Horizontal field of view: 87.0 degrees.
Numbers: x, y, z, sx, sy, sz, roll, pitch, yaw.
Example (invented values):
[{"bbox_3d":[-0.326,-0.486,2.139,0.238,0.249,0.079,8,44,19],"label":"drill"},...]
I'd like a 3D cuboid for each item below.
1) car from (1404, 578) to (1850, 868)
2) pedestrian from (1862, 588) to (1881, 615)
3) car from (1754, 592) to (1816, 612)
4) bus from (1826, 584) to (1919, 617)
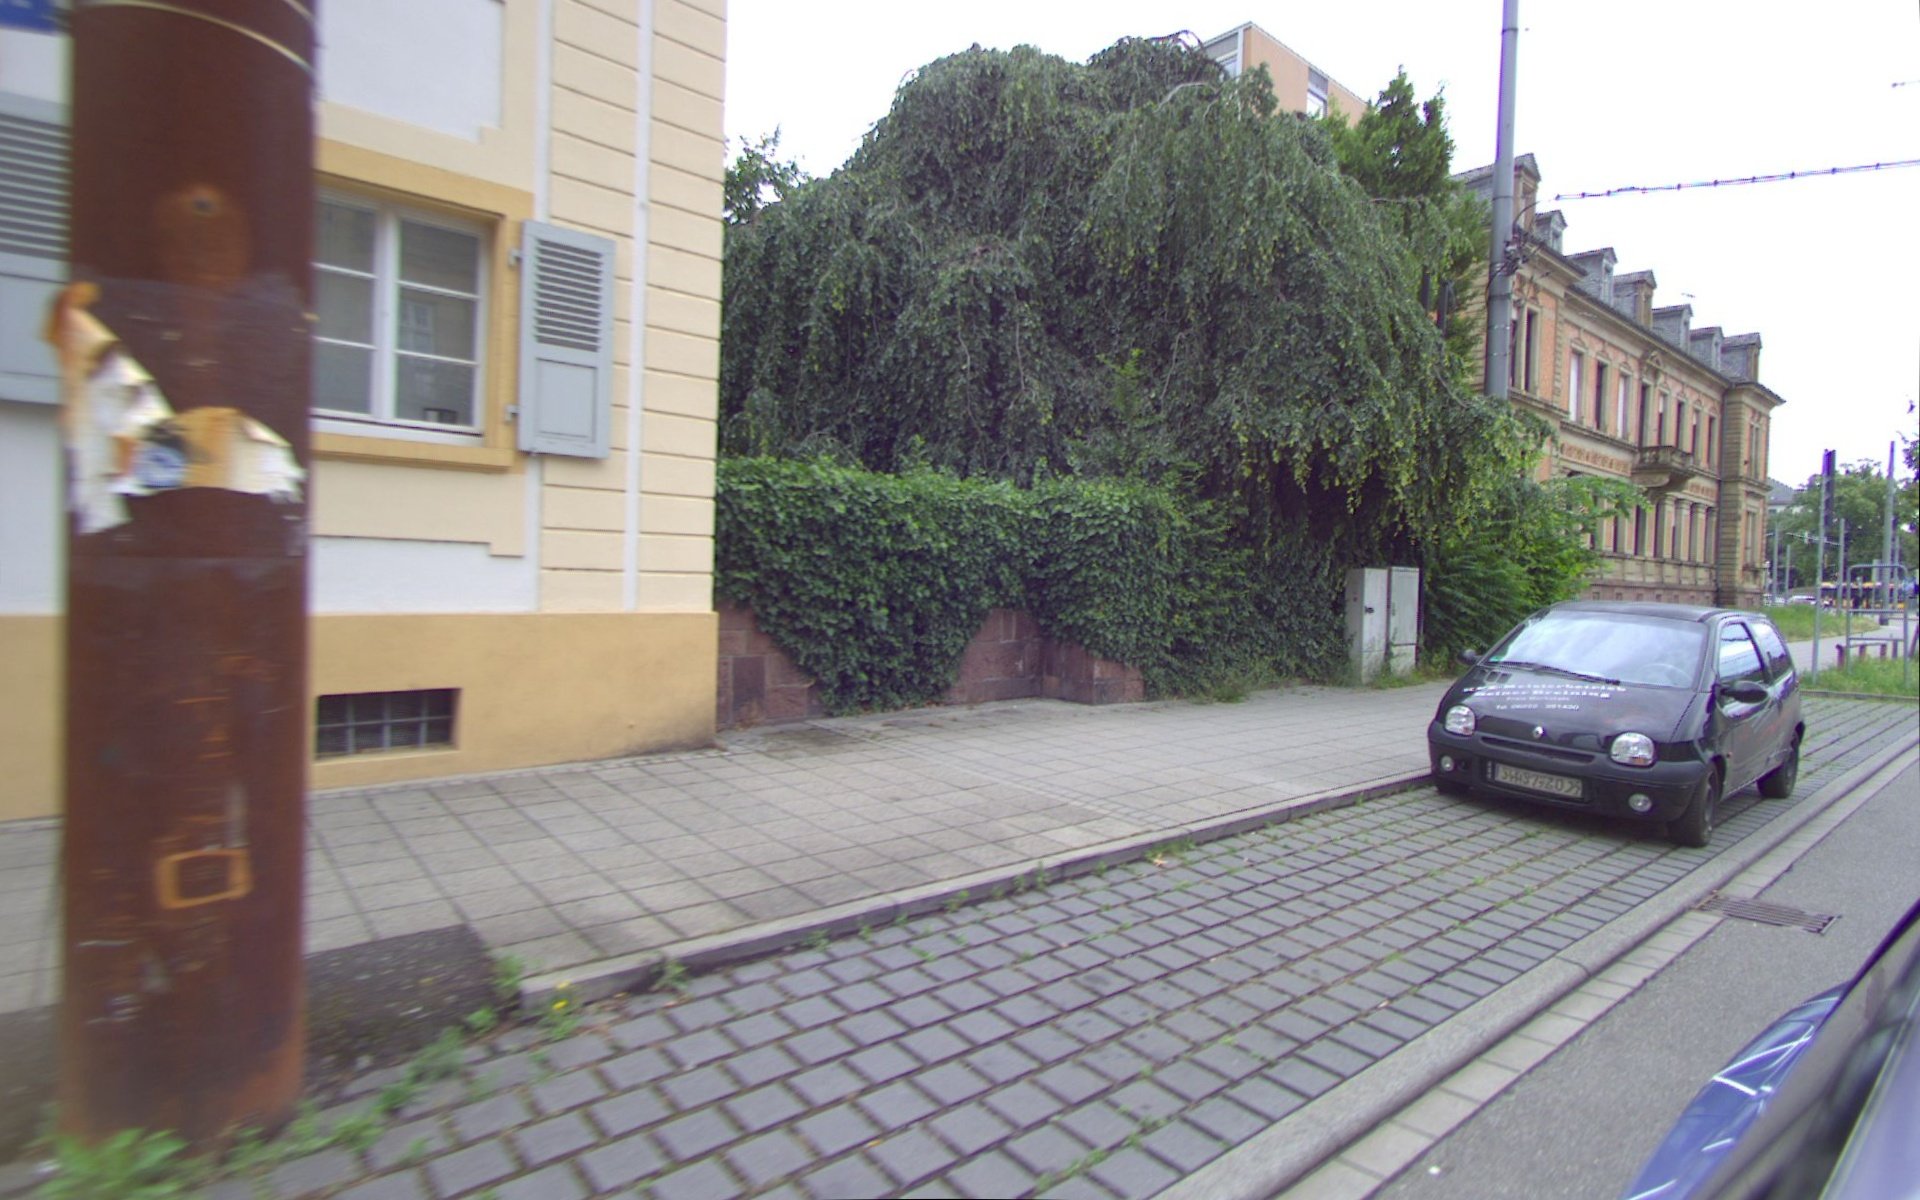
[{"bbox_3d":[4.945,0.656,7.295,3.862,1.451,1.641,0,4,-41],"label":"car"},{"bbox_3d":[67.481,0.097,74.942,0.773,1.967,0.972,2,1,27],"label":"pedestrian"},{"bbox_3d":[69.729,0.150,85.567,1.962,1.511,3.622,0,2,-35],"label":"car"},{"bbox_3d":[95.657,-0.055,106.181,2.827,3.115,11.955,1,2,18],"label":"bus"}]
